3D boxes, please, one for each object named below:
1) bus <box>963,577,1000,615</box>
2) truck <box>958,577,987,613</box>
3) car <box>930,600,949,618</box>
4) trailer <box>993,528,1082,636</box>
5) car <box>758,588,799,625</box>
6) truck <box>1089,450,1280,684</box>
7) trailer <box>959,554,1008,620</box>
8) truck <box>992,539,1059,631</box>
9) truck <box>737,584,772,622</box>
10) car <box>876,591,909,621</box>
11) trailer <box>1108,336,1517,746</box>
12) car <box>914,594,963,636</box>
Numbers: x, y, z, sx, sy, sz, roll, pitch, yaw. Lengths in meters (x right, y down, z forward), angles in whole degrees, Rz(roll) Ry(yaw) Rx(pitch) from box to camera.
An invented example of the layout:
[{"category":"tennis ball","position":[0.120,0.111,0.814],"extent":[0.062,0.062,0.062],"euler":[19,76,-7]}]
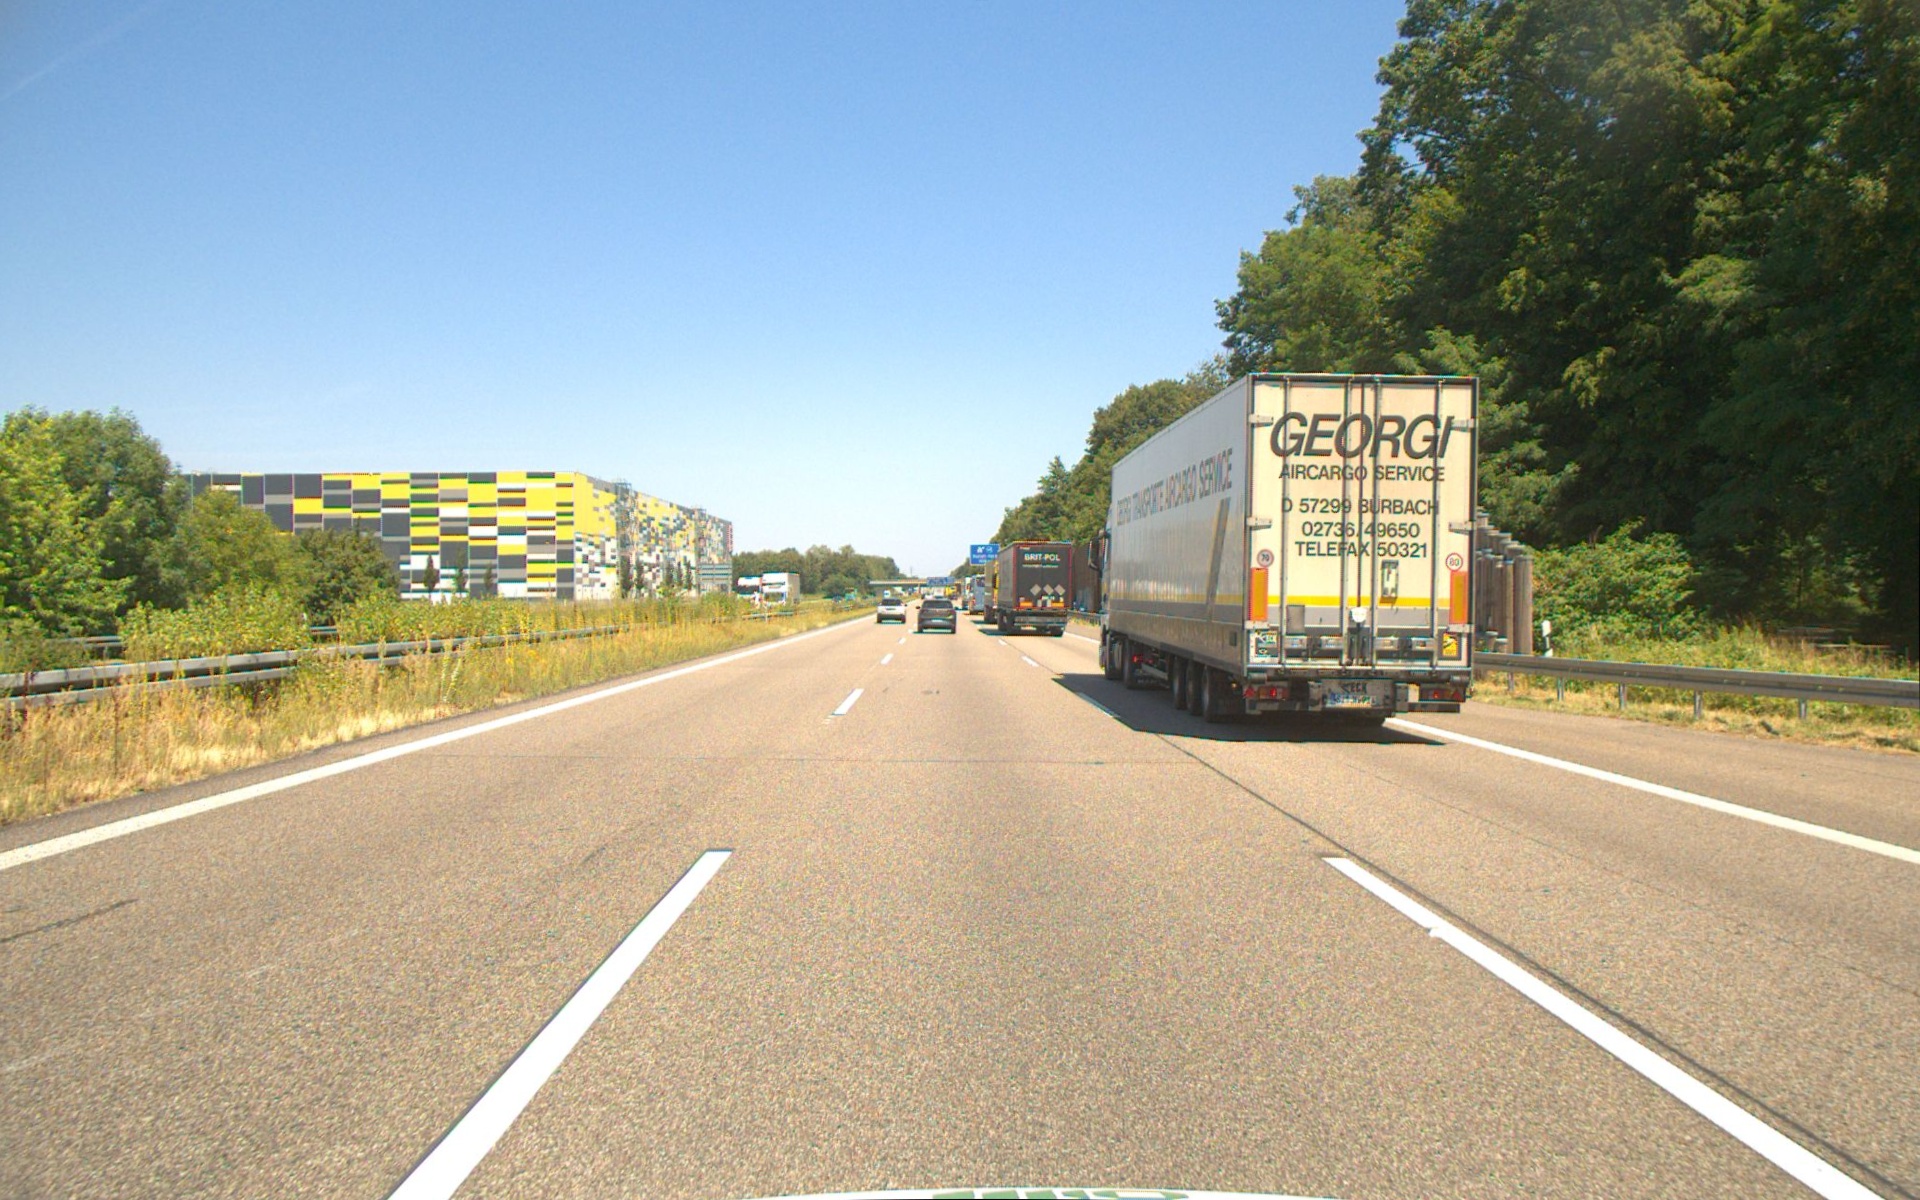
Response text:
[{"category":"bus","position":[1.990,-0.343,154.647],"extent":[3.001,3.385,8.270],"euler":[-1,0,-2]},{"category":"truck","position":[1.496,-0.565,198.528],"extent":[3.353,4.198,9.563],"euler":[-1,0,0]},{"category":"car","position":[-2.026,0.857,161.683],"extent":[1.902,1.736,3.999],"euler":[0,0,-1]},{"category":"trailer","position":[3.471,-0.758,78.062],"extent":[3.043,4.585,14.891],"euler":[1,0,-2]},{"category":"car","position":[-15.661,0.558,142.965],"extent":[2.494,3.034,8.085],"euler":[-1,0,1]},{"category":"truck","position":[4.267,-0.578,32.503],"extent":[2.942,4.197,5.251],"euler":[0,0,-1]},{"category":"trailer","position":[1.467,-0.839,108.341],"extent":[2.777,4.023,11.681],"euler":[0,0,-1]},{"category":"truck","position":[3.312,-0.726,85.289],"extent":[3.025,4.518,6.050],"euler":[1,0,-2]},{"category":"truck","position":[-22.822,0.318,184.129],"extent":[2.595,3.952,10.825],"euler":[-3,0,-1]},{"category":"car","position":[-4.154,0.359,102.272],"extent":[1.953,1.758,4.129],"euler":[0,0,-2]},{"category":"trailer","position":[4.404,-0.633,24.532],"extent":[2.933,4.364,13.415],"euler":[1,0,-1]},{"category":"car","position":[-1.007,0.666,75.711],"extent":[2.171,1.821,5.392],"euler":[0,0,-1]}]
